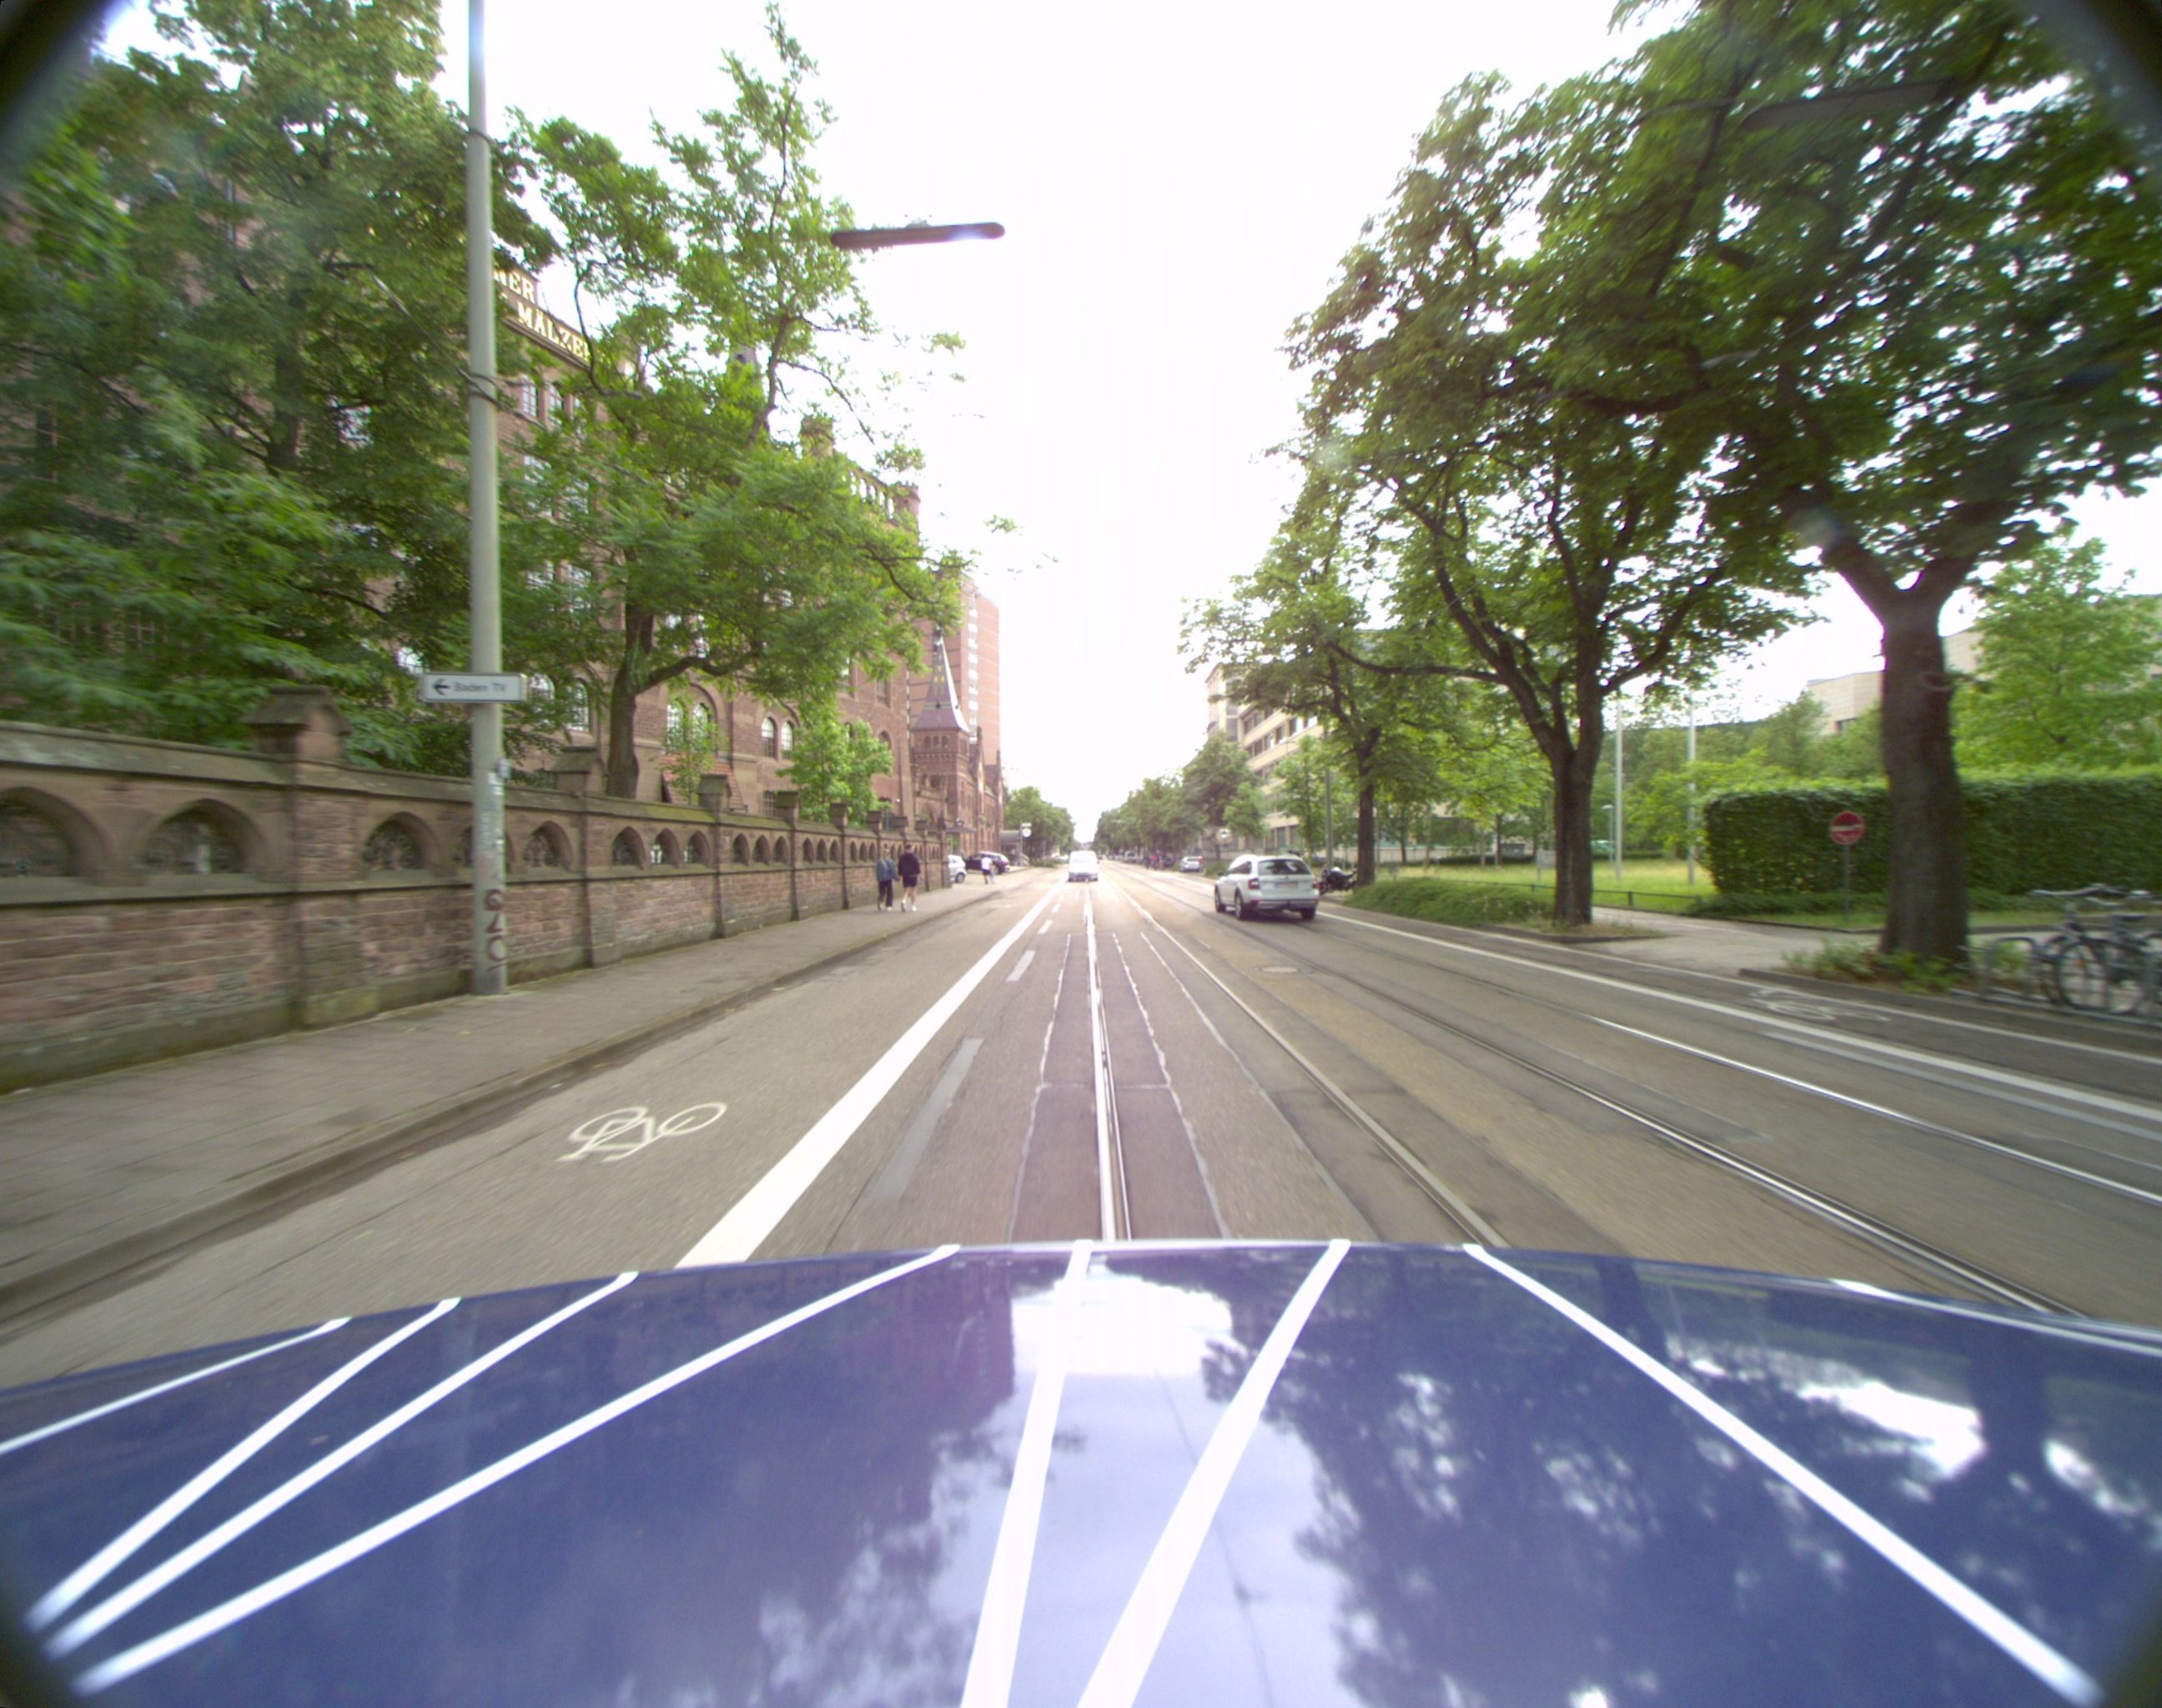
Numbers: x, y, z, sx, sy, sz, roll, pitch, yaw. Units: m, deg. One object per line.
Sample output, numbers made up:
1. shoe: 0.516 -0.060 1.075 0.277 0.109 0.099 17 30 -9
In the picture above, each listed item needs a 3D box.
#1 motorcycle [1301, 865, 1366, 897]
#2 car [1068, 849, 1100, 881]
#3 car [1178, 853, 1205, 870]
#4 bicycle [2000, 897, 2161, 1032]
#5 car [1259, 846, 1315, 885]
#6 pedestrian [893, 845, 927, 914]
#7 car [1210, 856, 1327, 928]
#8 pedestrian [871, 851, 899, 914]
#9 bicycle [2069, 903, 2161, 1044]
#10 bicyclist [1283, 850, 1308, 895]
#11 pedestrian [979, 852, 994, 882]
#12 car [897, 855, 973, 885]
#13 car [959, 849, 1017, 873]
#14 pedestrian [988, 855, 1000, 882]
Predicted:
1. motorcycle: 9.289 0.975 28.005 2.128 1.096 0.776 -1 2 42
2. car: 0.198 0.629 47.770 1.850 1.797 4.936 -2 1 1
3. car: 9.895 0.651 68.451 1.849 1.425 3.951 -2 1 0
4. bicycle: 9.799 1.018 7.192 1.473 1.134 0.617 -2 1 -1
5. car: 9.851 0.487 36.682 1.815 1.699 4.000 -2 1 4
6. pedestrian: -4.608 0.672 20.544 0.723 1.834 0.897 1 1 -2
7. car: 4.433 0.836 18.632 1.745 1.490 4.260 0 1 -1
8. pedestrian: -5.286 0.755 20.499 0.559 1.646 0.771 1 1 -2
9. bicycle: 9.843 1.024 6.686 1.473 1.134 0.617 0 1 -1
10. bicyclist: 7.516 0.642 26.635 0.636 1.528 0.955 -2 1 5
11. pedestrian: -5.448 0.746 43.975 0.669 1.703 0.997 3 1 -2
12. car: -8.339 0.887 43.564 1.849 1.565 4.007 -1 1 37
13. car: -7.284 0.516 59.656 3.992 1.609 2.002 3 1 12
14. pedestrian: -5.049 0.848 44.051 0.529 1.548 0.489 3 1 -2
